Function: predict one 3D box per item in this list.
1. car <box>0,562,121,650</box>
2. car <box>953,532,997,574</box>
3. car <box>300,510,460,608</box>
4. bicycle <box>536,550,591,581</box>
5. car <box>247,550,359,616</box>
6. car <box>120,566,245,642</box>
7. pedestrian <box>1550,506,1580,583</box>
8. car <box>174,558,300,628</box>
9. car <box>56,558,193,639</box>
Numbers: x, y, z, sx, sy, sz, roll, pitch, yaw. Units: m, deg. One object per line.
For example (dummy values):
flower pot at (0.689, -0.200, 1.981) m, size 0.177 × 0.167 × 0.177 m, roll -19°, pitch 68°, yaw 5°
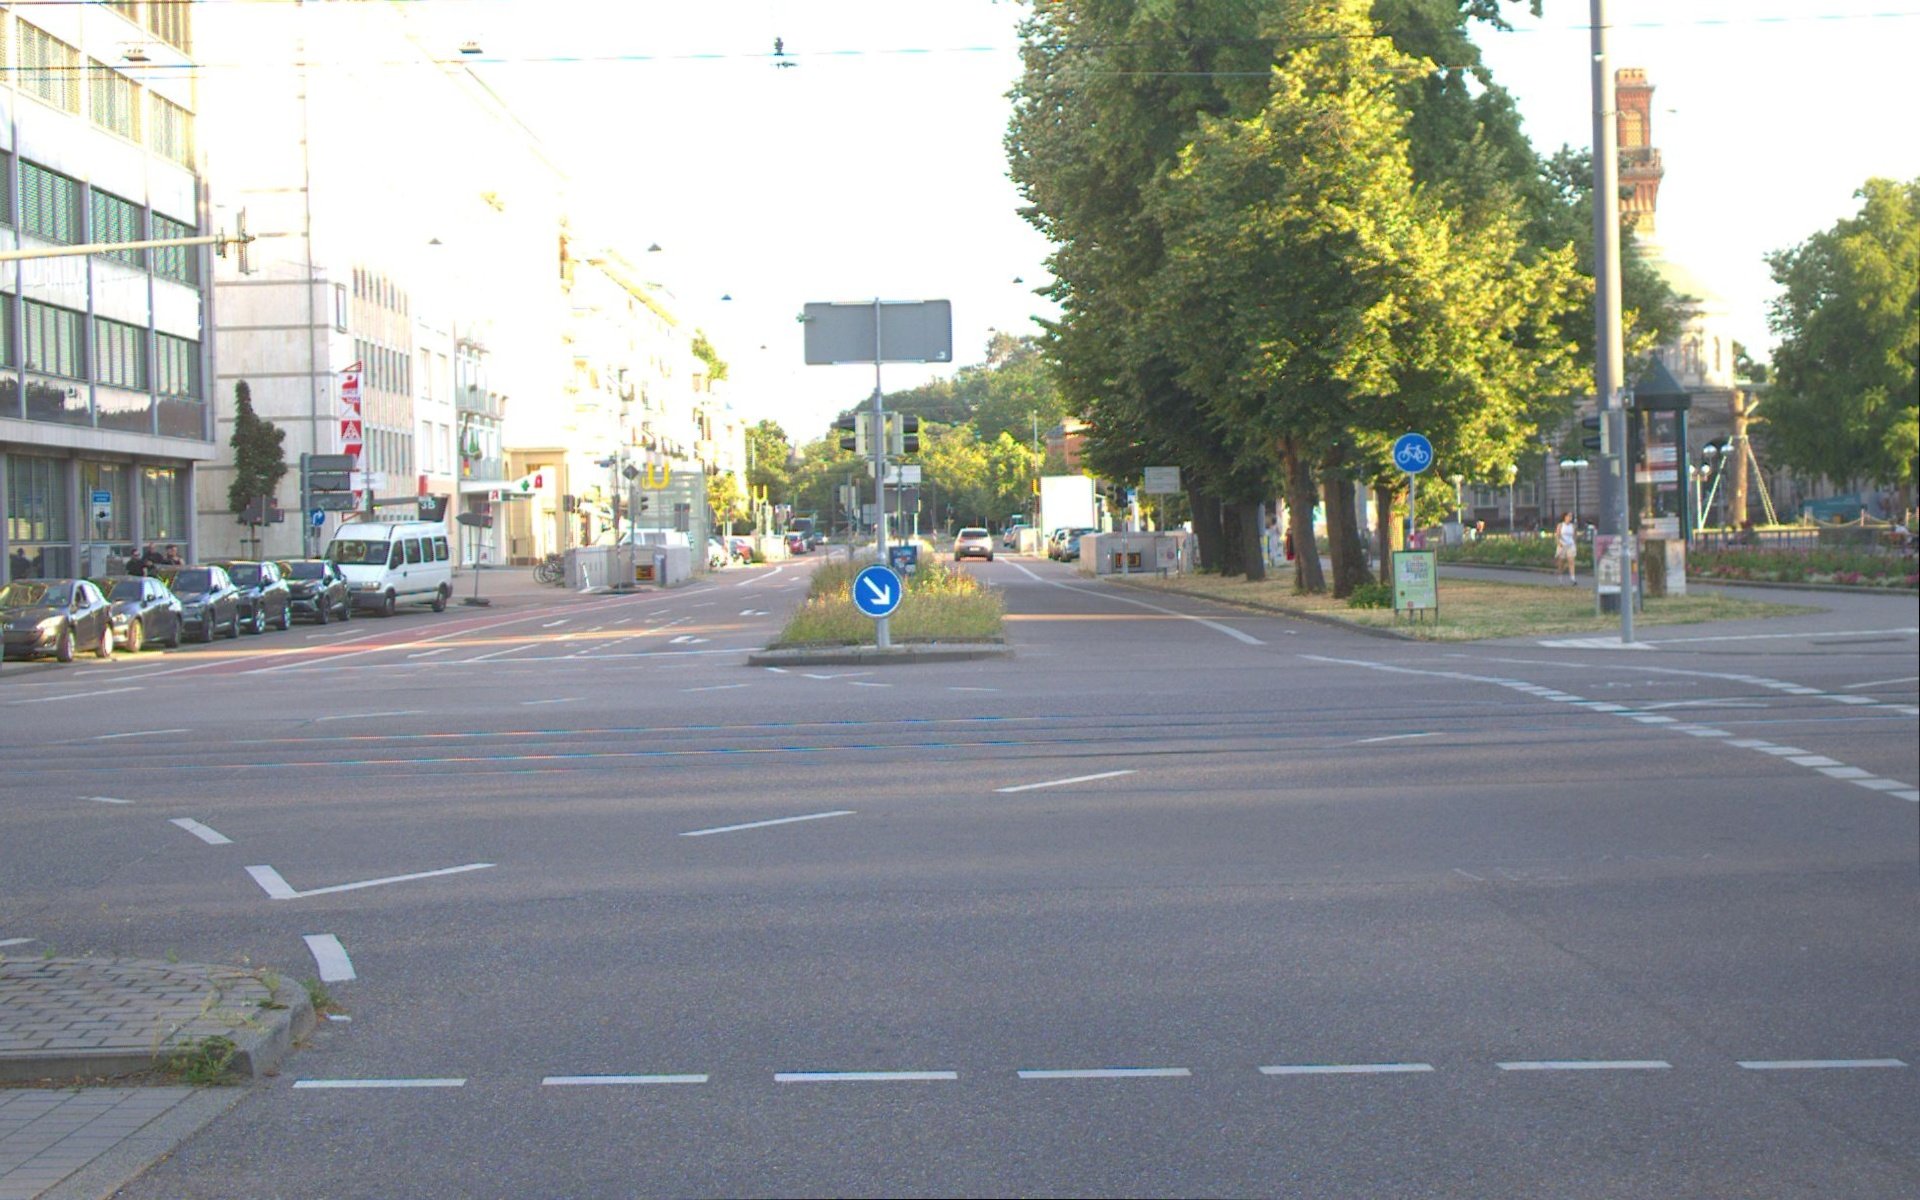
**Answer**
car at (-16.488, 0.129, 61.929) m, size 1.796 × 1.470 × 4.000 m, roll -1°, pitch -1°, yaw -1°
car at (0.729, -2.316, 168.188) m, size 1.993 × 2.007 × 4.000 m, roll -2°, pitch 1°, yaw -1°
car at (-15.362, -1.053, 91.462) m, size 2.177 × 2.377 × 5.986 m, roll -2°, pitch -1°, yaw 11°
bicycle at (-14.841, -1.284, 128.766) m, size 1.995 × 1.089 × 0.325 m, roll -2°, pitch 1°, yaw -9°
car at (-16.191, -0.405, 84.875) m, size 1.796 × 1.470 × 3.999 m, roll -2°, pitch -1°, yaw 3°
car at (-16.530, 0.104, 73.294) m, size 1.796 × 1.470 × 4.000 m, roll -1°, pitch -1°, yaw -1°
pedestrian at (13.193, -1.208, 74.960) m, size 0.508 × 1.663 × 0.531 m, roll -1°, pitch 1°, yaw -1°
car at (-16.463, -0.138, 78.477) m, size 1.796 × 1.470 × 3.999 m, roll -2°, pitch -1°, yaw 3°
car at (-16.580, -0.008, 68.363) m, size 1.796 × 1.470 × 4.000 m, roll -1°, pitch -1°, yaw -1°
